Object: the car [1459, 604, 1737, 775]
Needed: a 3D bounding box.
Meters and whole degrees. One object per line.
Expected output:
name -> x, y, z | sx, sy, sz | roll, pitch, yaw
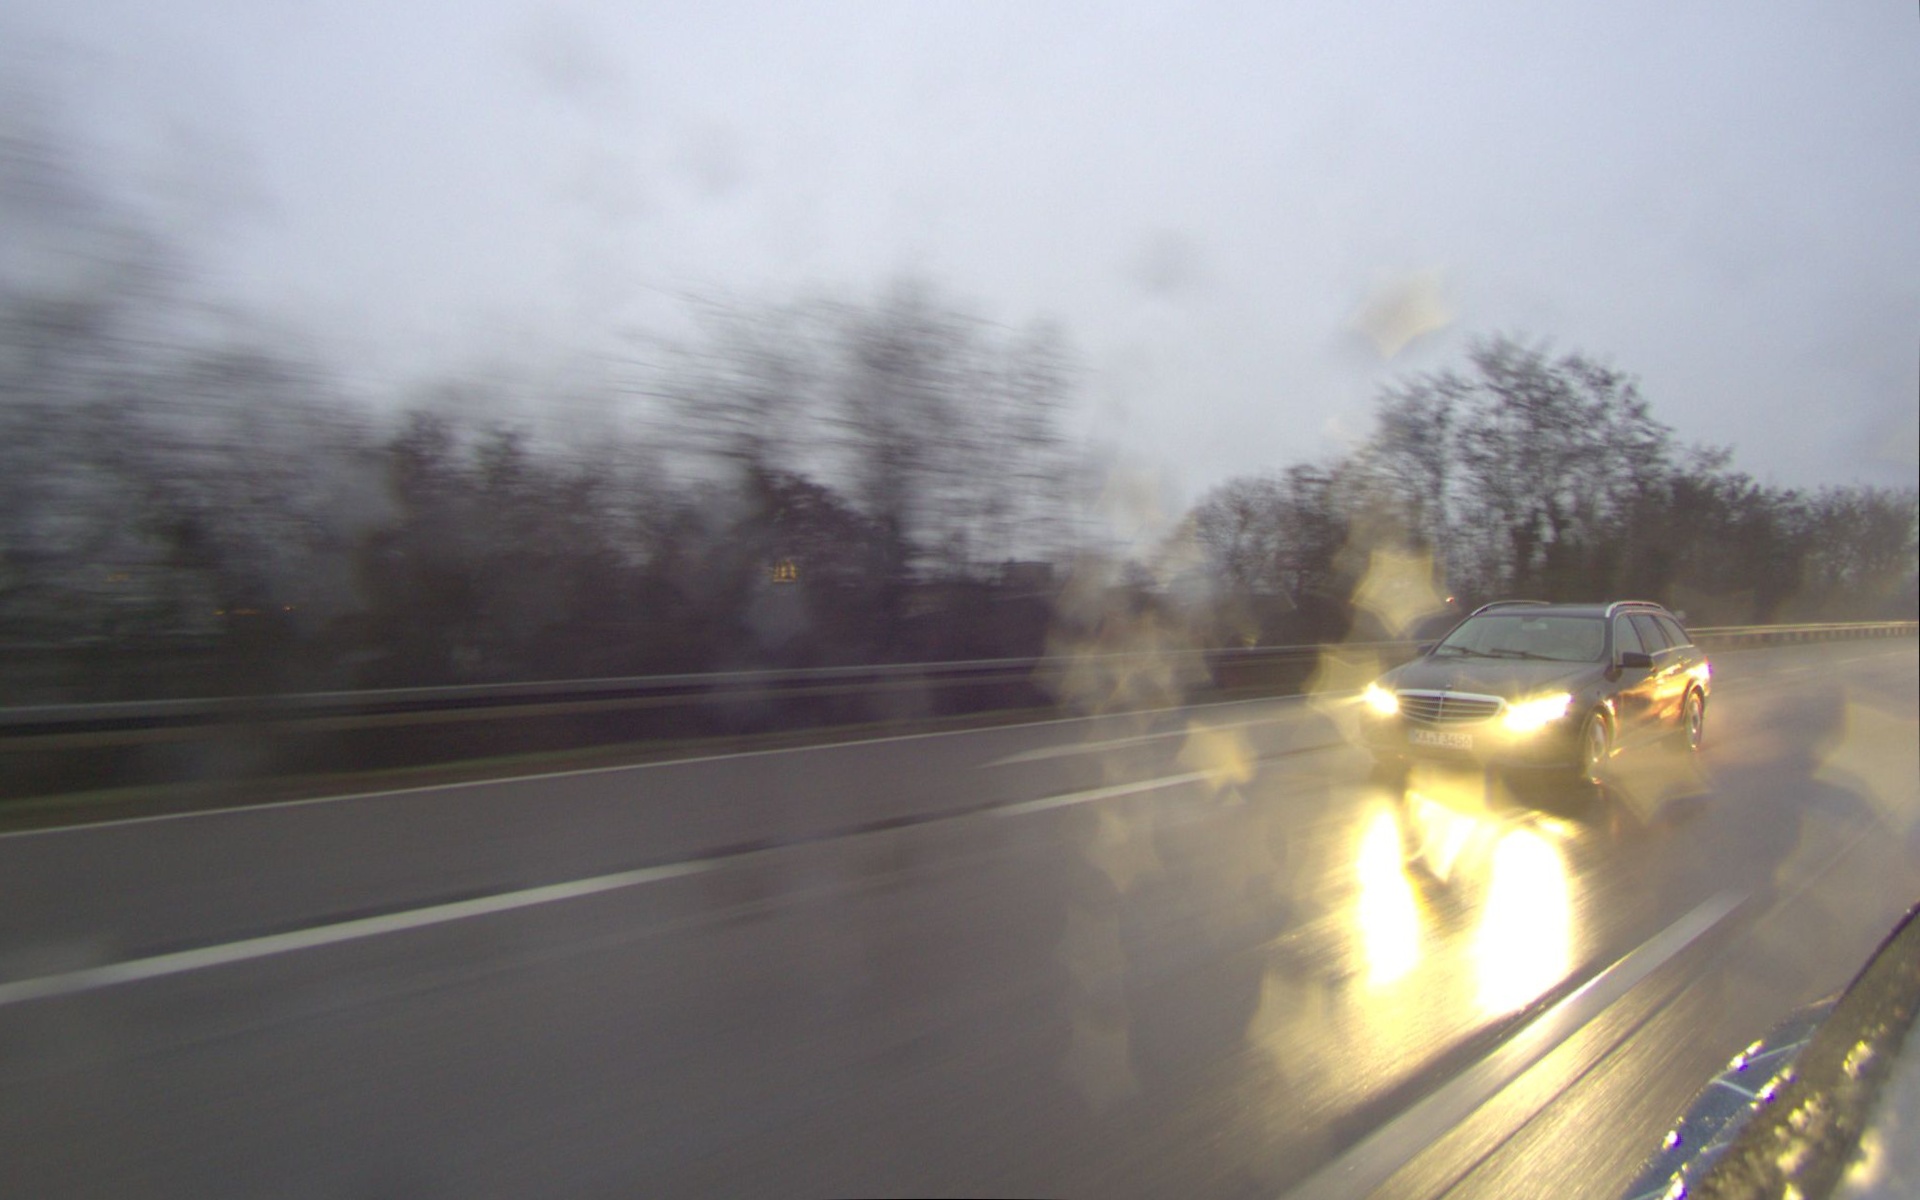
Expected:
car -> 6.908, 0.785, 10.769 | 4.107, 1.472, 1.592 | 0, 0, -44
